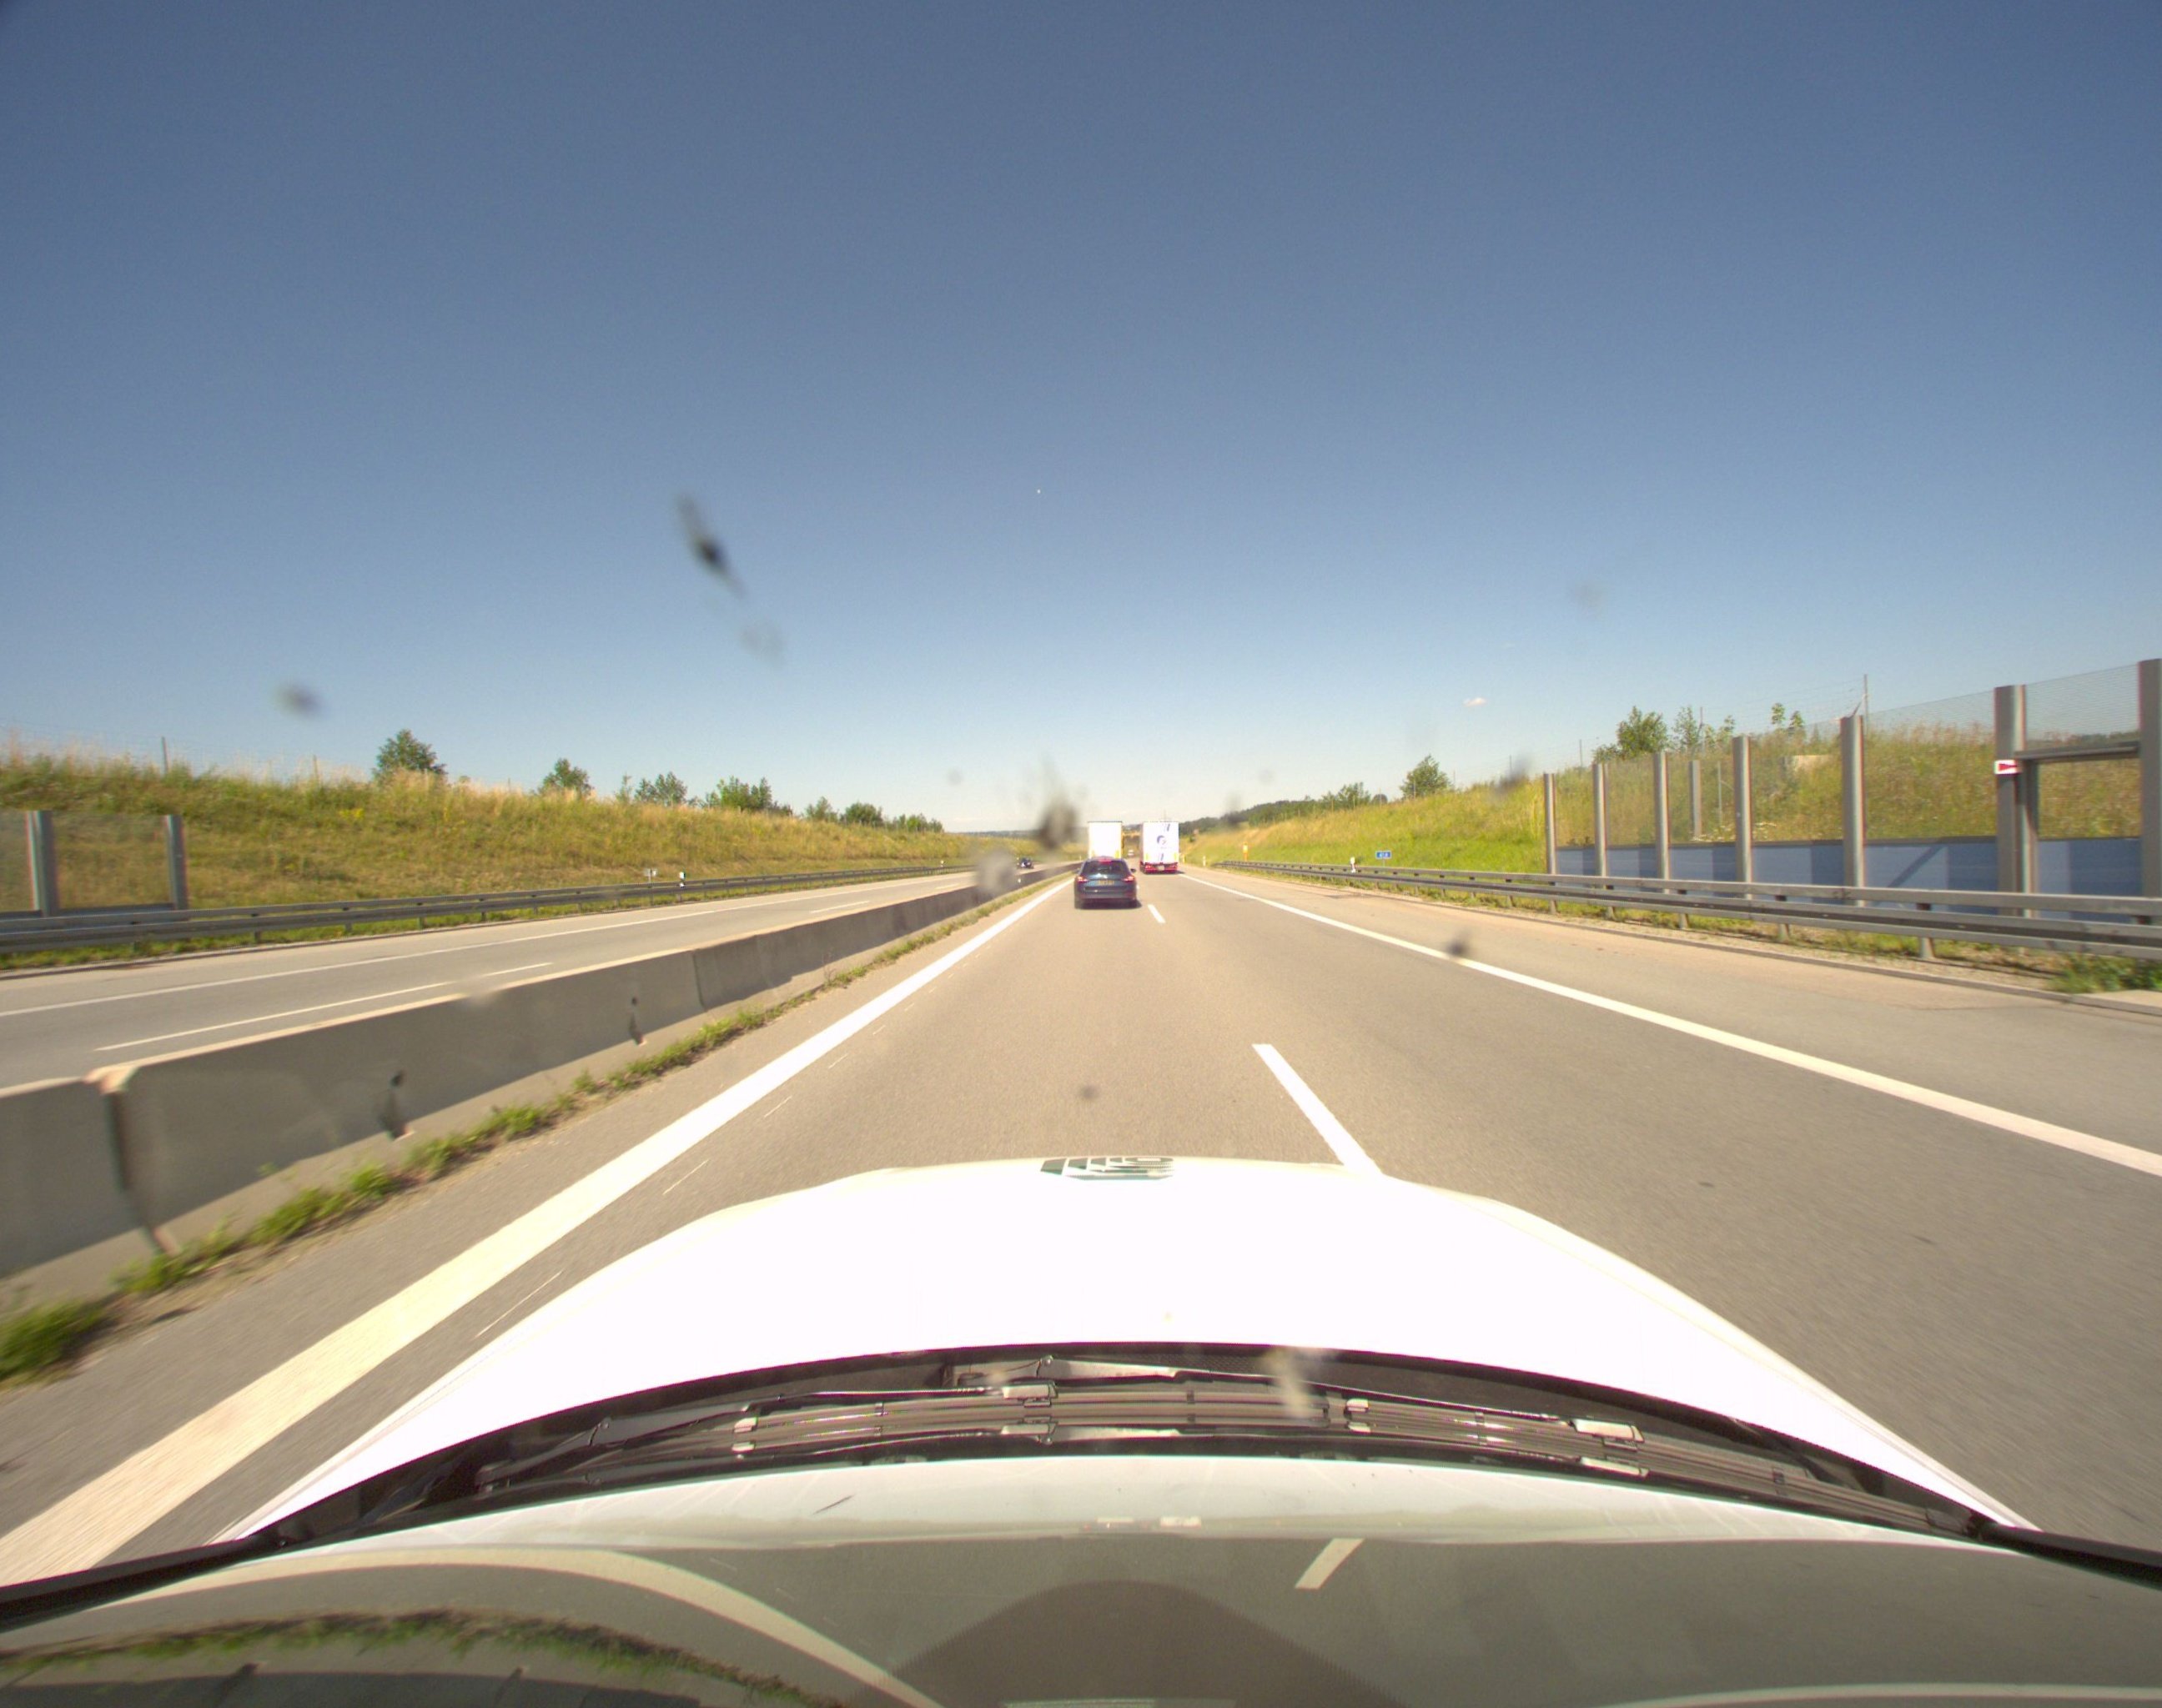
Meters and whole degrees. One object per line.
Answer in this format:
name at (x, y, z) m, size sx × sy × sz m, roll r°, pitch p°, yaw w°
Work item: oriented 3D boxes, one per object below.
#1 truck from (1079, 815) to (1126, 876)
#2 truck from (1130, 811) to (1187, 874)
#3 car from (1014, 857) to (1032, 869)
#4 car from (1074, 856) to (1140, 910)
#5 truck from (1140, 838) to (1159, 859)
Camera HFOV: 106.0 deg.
truck at (1.861, -0.647, 66.366) m, size 3.198 × 4.381 × 11.240 m, roll -4°, pitch 0°, yaw 2°
truck at (6.011, -0.849, 64.990) m, size 3.590 × 4.381 × 11.239 m, roll -4°, pitch 0°, yaw 2°
car at (-7.092, 1.067, 100.480) m, size 1.739 × 1.356 × 4.002 m, roll -4°, pitch 0°, yaw 2°
car at (0.725, 0.793, 24.036) m, size 1.771 × 1.441 × 3.789 m, roll -1°, pitch 0°, yaw 0°
truck at (15.337, -1.208, 183.513) m, size 3.590 × 4.381 × 11.239 m, roll -4°, pitch 0°, yaw 2°
